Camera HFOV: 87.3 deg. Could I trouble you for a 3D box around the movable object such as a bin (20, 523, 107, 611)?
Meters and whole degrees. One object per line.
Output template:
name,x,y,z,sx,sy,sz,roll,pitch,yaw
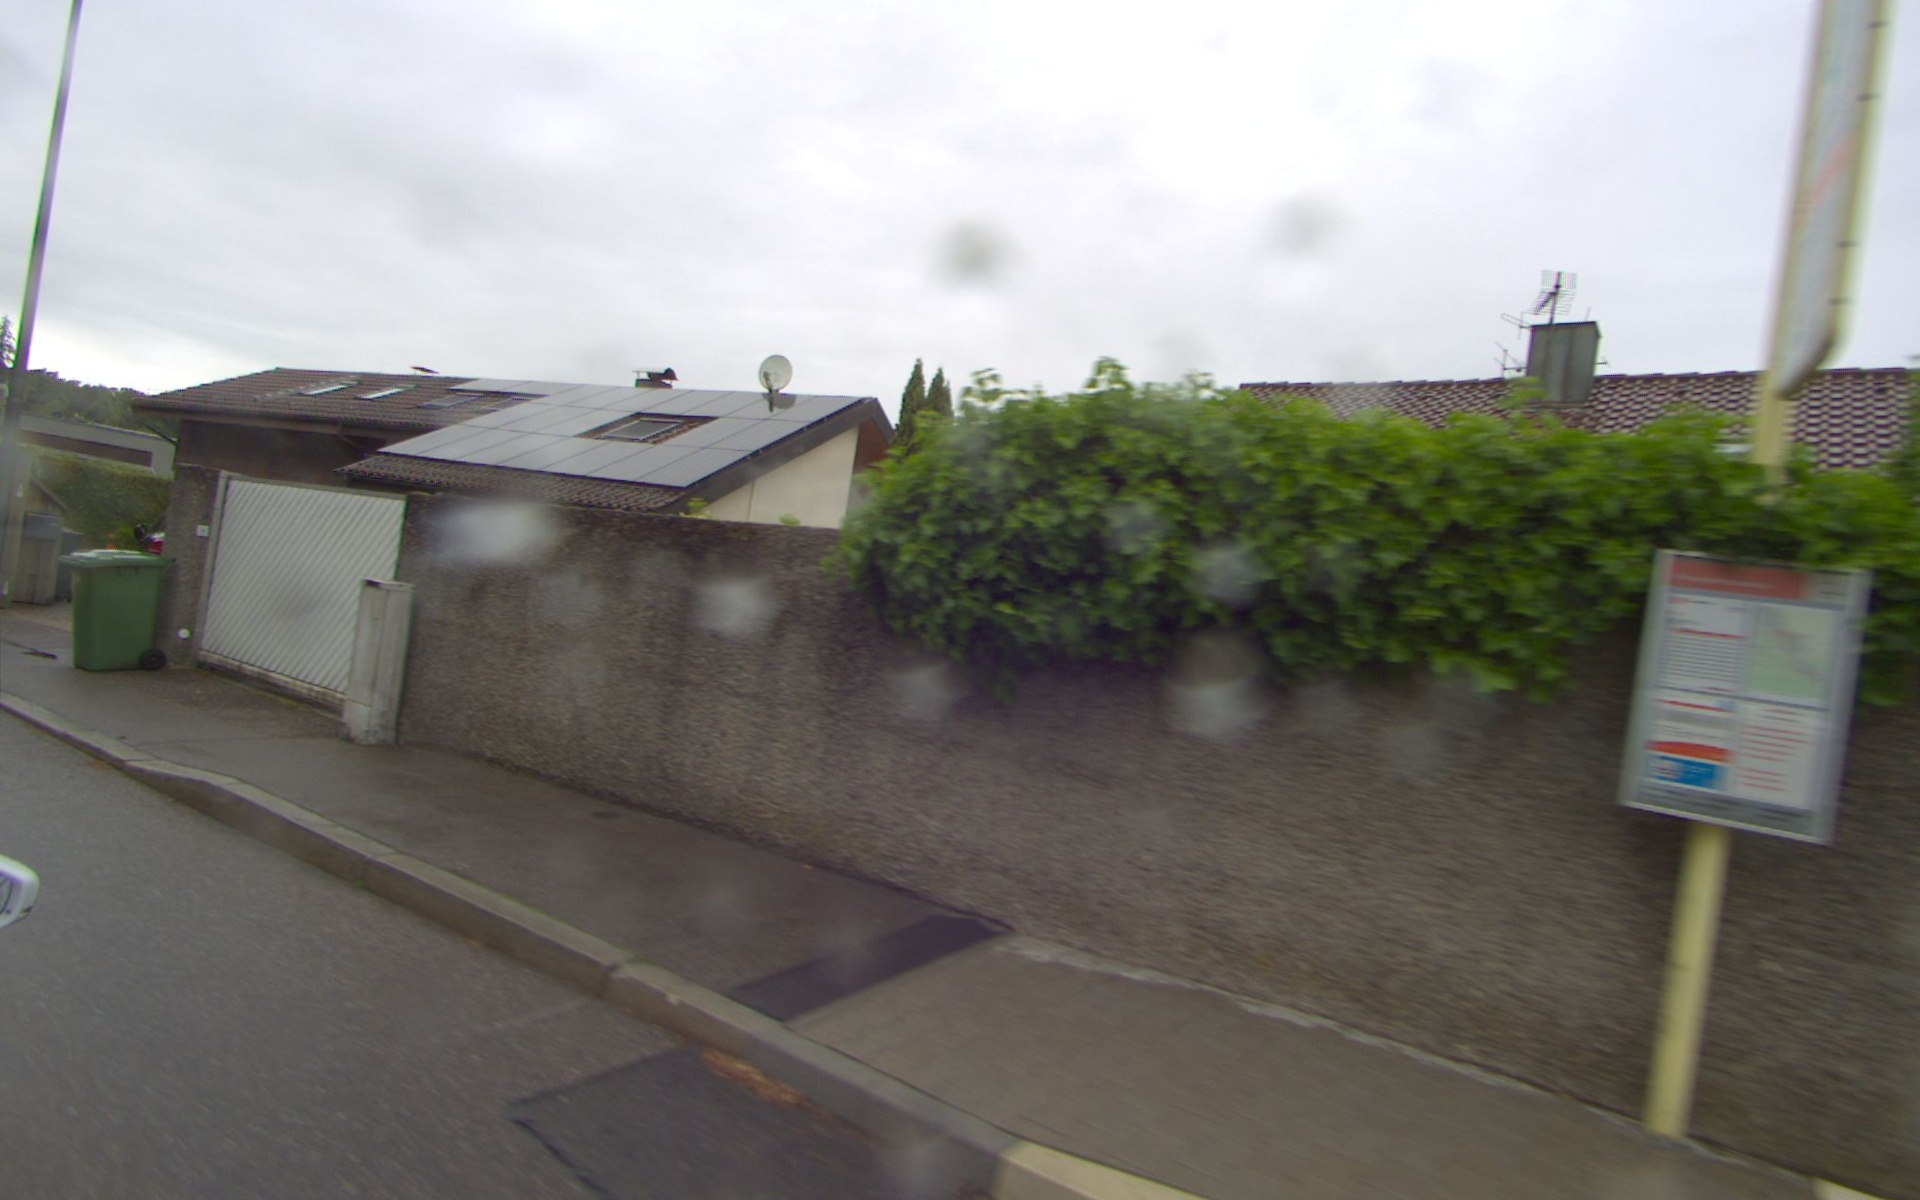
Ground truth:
movable object such as a bin,-13.011,-0.476,14.621,0.746,1.115,0.811,12,-5,-39

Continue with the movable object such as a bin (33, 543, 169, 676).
movable object such as a bin,-7.775,0.098,9.111,0.590,1.102,0.739,8,1,34

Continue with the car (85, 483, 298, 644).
car,-11.364,-0.516,14.911,1.988,1.737,4.364,12,-5,-38
